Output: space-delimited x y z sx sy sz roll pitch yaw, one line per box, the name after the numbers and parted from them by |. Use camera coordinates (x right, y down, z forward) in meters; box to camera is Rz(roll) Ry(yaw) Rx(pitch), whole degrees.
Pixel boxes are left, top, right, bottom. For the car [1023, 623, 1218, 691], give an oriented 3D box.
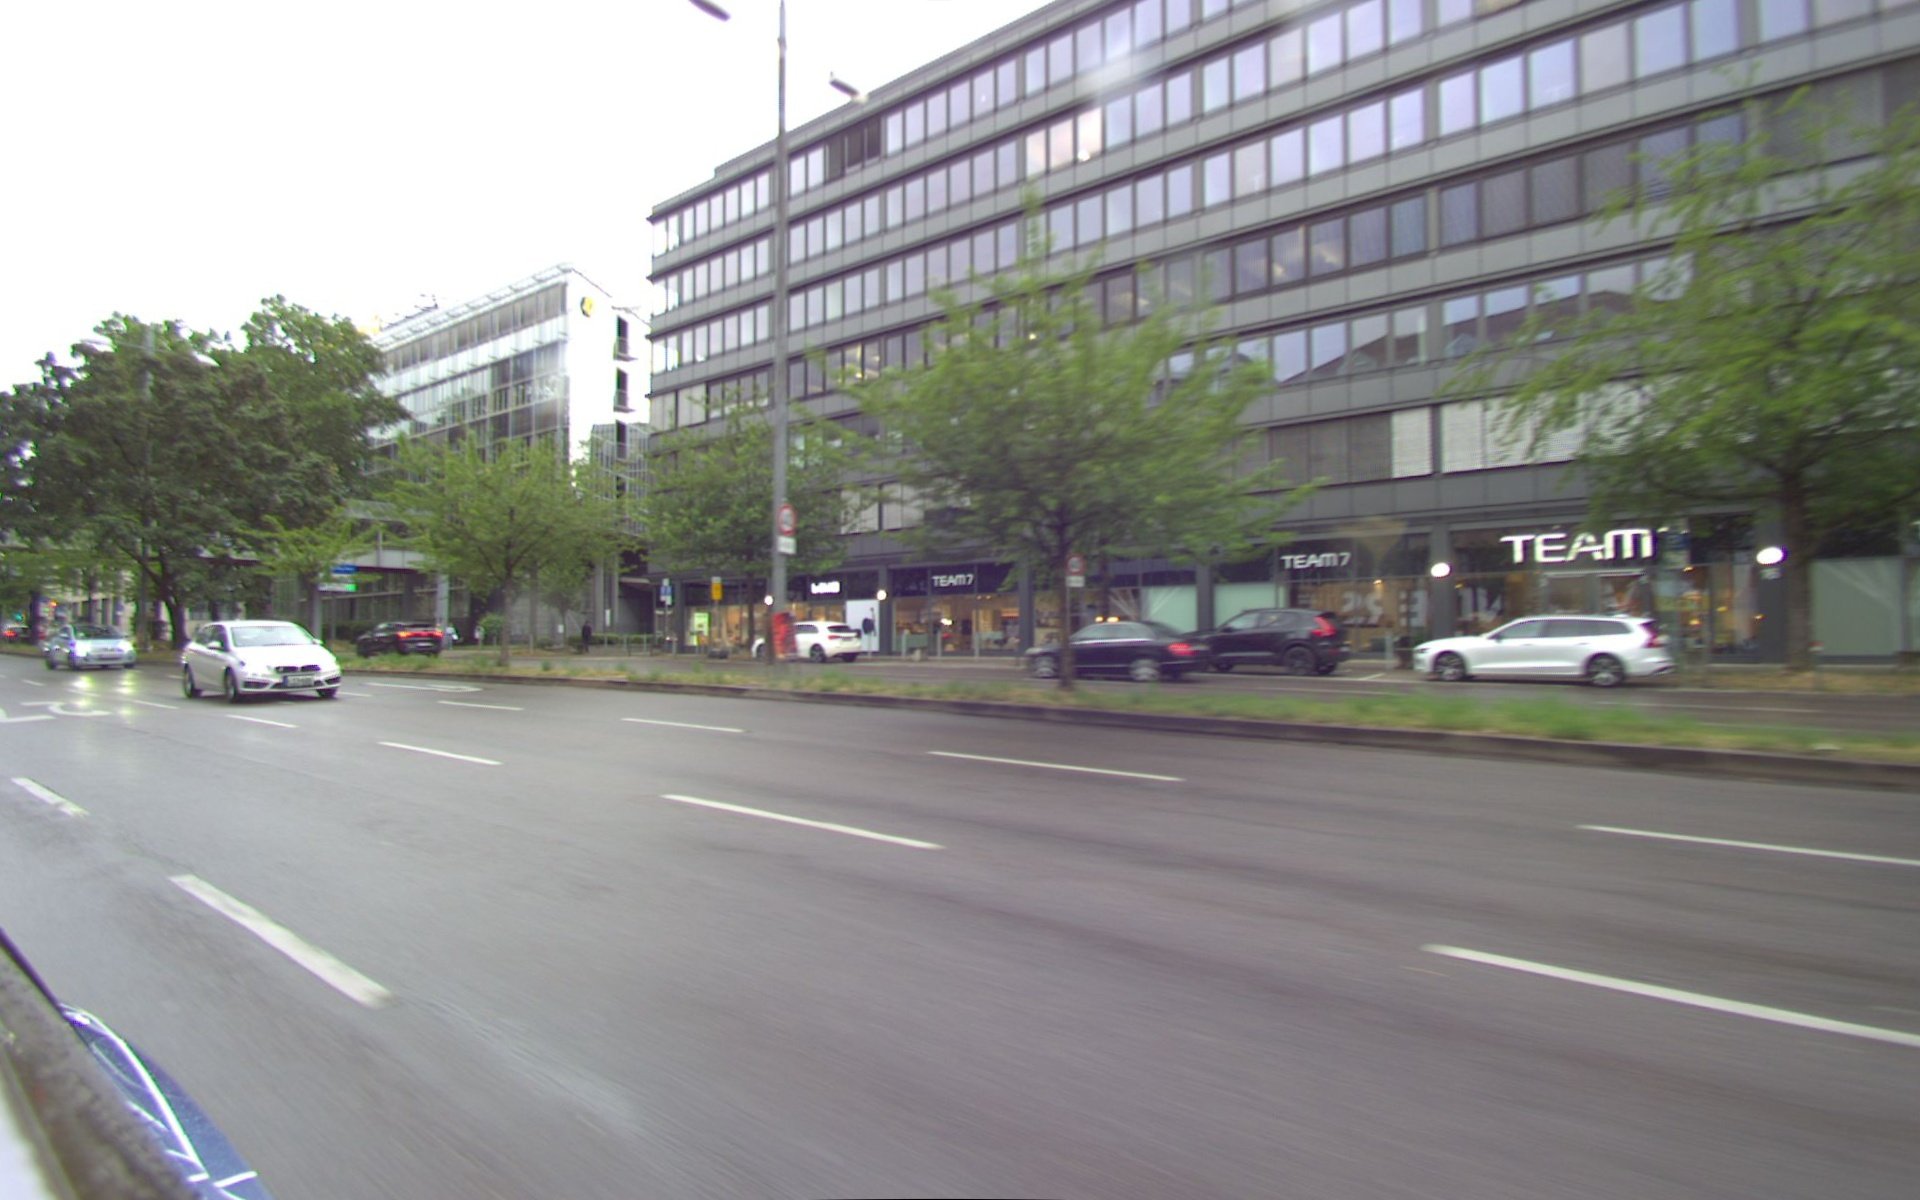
3.805 1.337 24.343 4.294 1.487 1.792 -2 -2 37 | car

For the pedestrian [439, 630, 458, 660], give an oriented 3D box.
-31.502 2.773 62.373 0.924 1.846 0.720 -2 -1 39 | pedestrian

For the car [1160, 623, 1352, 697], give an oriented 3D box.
7.441 1.479 25.665 4.307 1.673 1.790 -2 -1 41 | car

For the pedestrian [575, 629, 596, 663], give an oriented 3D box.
-20.227 2.476 54.661 0.722 1.830 0.761 0 -1 14 | pedestrian

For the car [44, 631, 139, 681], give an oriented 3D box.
-29.071 1.842 33.845 3.687 1.585 1.766 -2 -2 39 | car

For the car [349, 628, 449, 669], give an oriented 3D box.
-22.878 1.925 41.200 4.710 1.528 1.792 0 -1 37 | car

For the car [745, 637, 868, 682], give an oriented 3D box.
-5.496 2.095 35.927 4.301 1.456 1.792 -2 -1 36 | car

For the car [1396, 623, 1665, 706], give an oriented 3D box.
12.138 1.323 21.712 4.768 1.496 1.791 -2 1 40 | car

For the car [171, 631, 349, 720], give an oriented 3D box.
-14.121 1.451 20.346 4.282 1.585 1.766 -2 -2 38 | car

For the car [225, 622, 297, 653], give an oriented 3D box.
-34.789 1.874 50.319 4.305 1.445 1.711 -2 -2 37 | car
